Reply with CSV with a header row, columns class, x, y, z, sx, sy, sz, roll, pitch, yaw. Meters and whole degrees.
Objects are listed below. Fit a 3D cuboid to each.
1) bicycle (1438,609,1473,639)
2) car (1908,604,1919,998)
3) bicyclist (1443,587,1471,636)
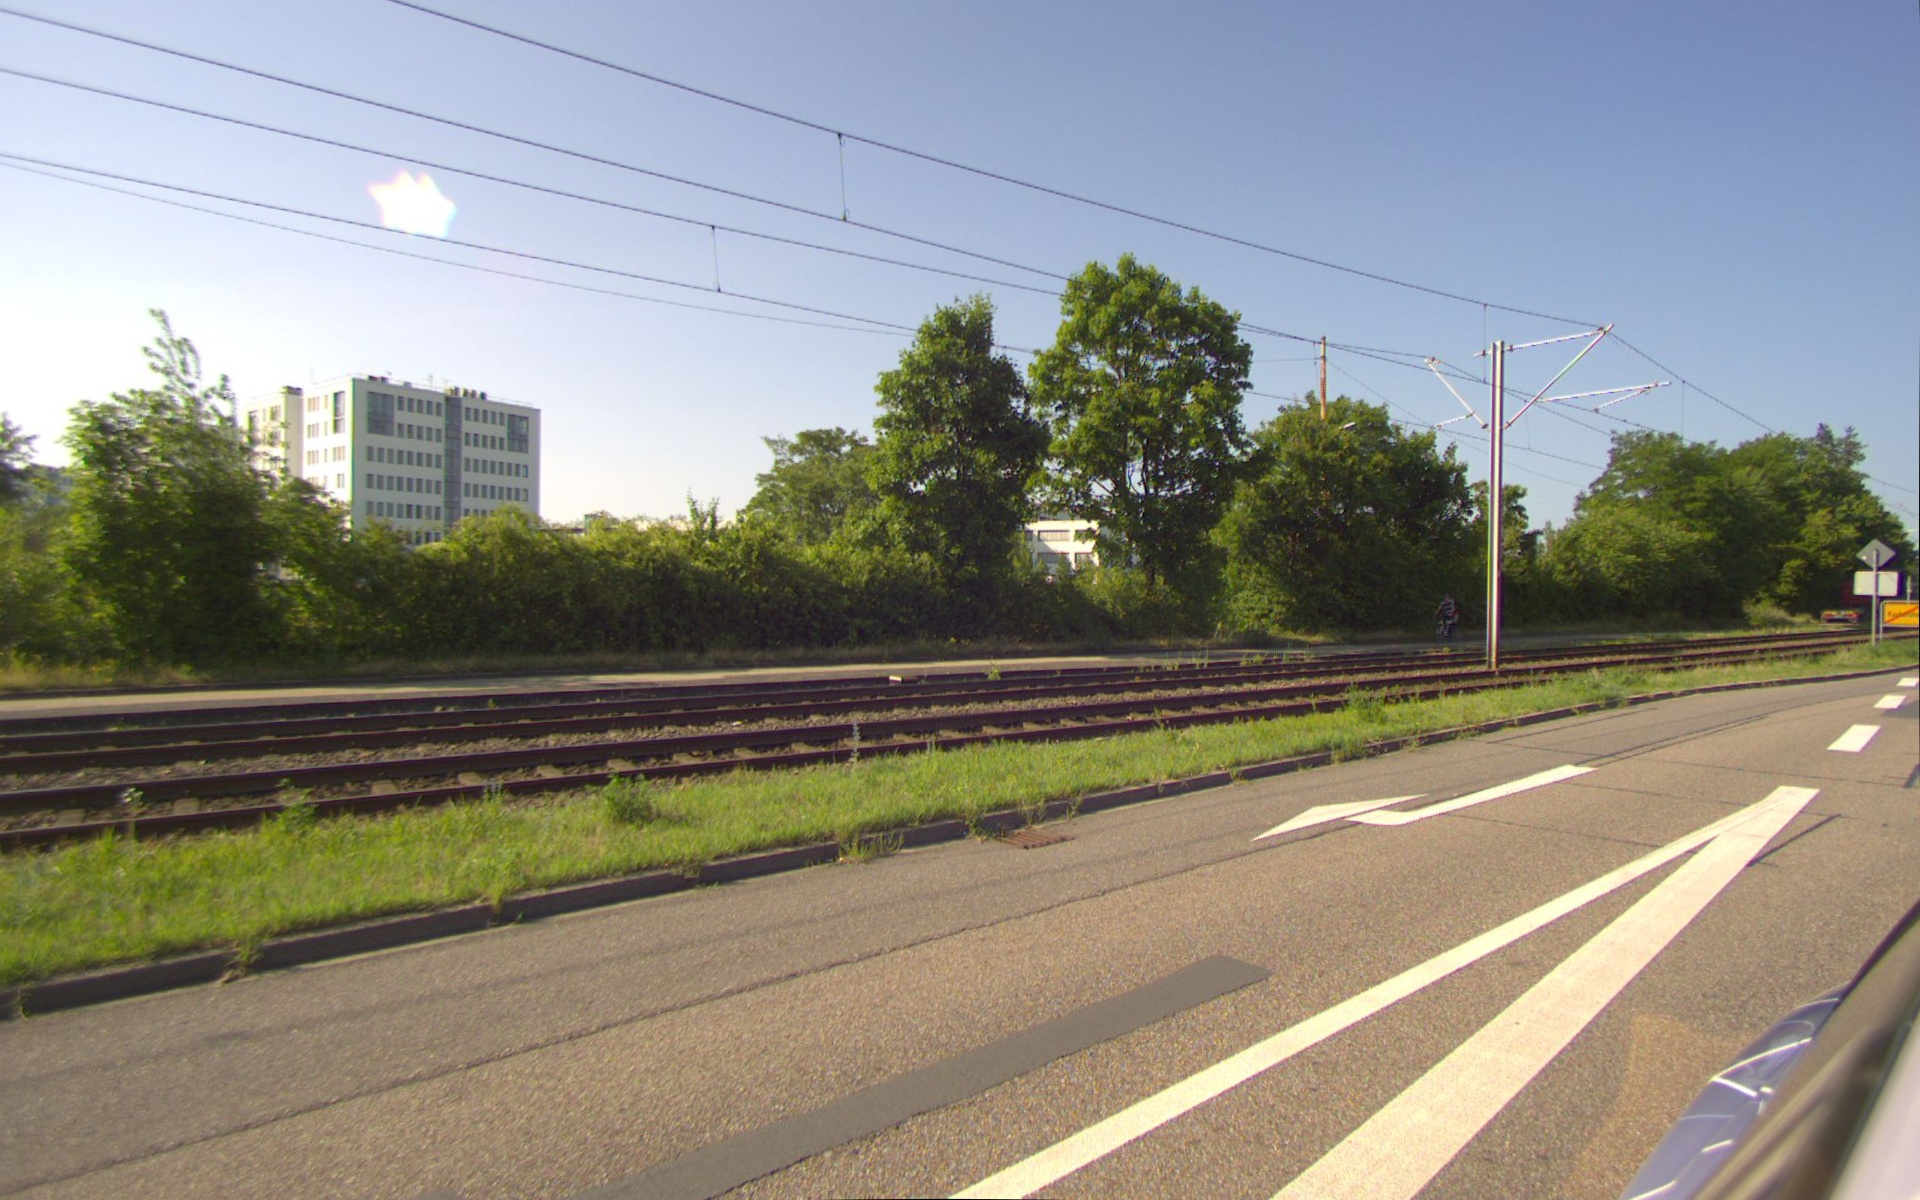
class,x,y,z,sx,sy,sz,roll,pitch,yaw
bicycle,18.777,0.897,38.316,1.841,1.060,0.546,0,1,-42
car,5.740,0.735,4.477,4.383,1.442,1.819,0,0,-41
bicyclist,18.823,0.427,38.328,0.705,1.830,0.707,0,0,-41
